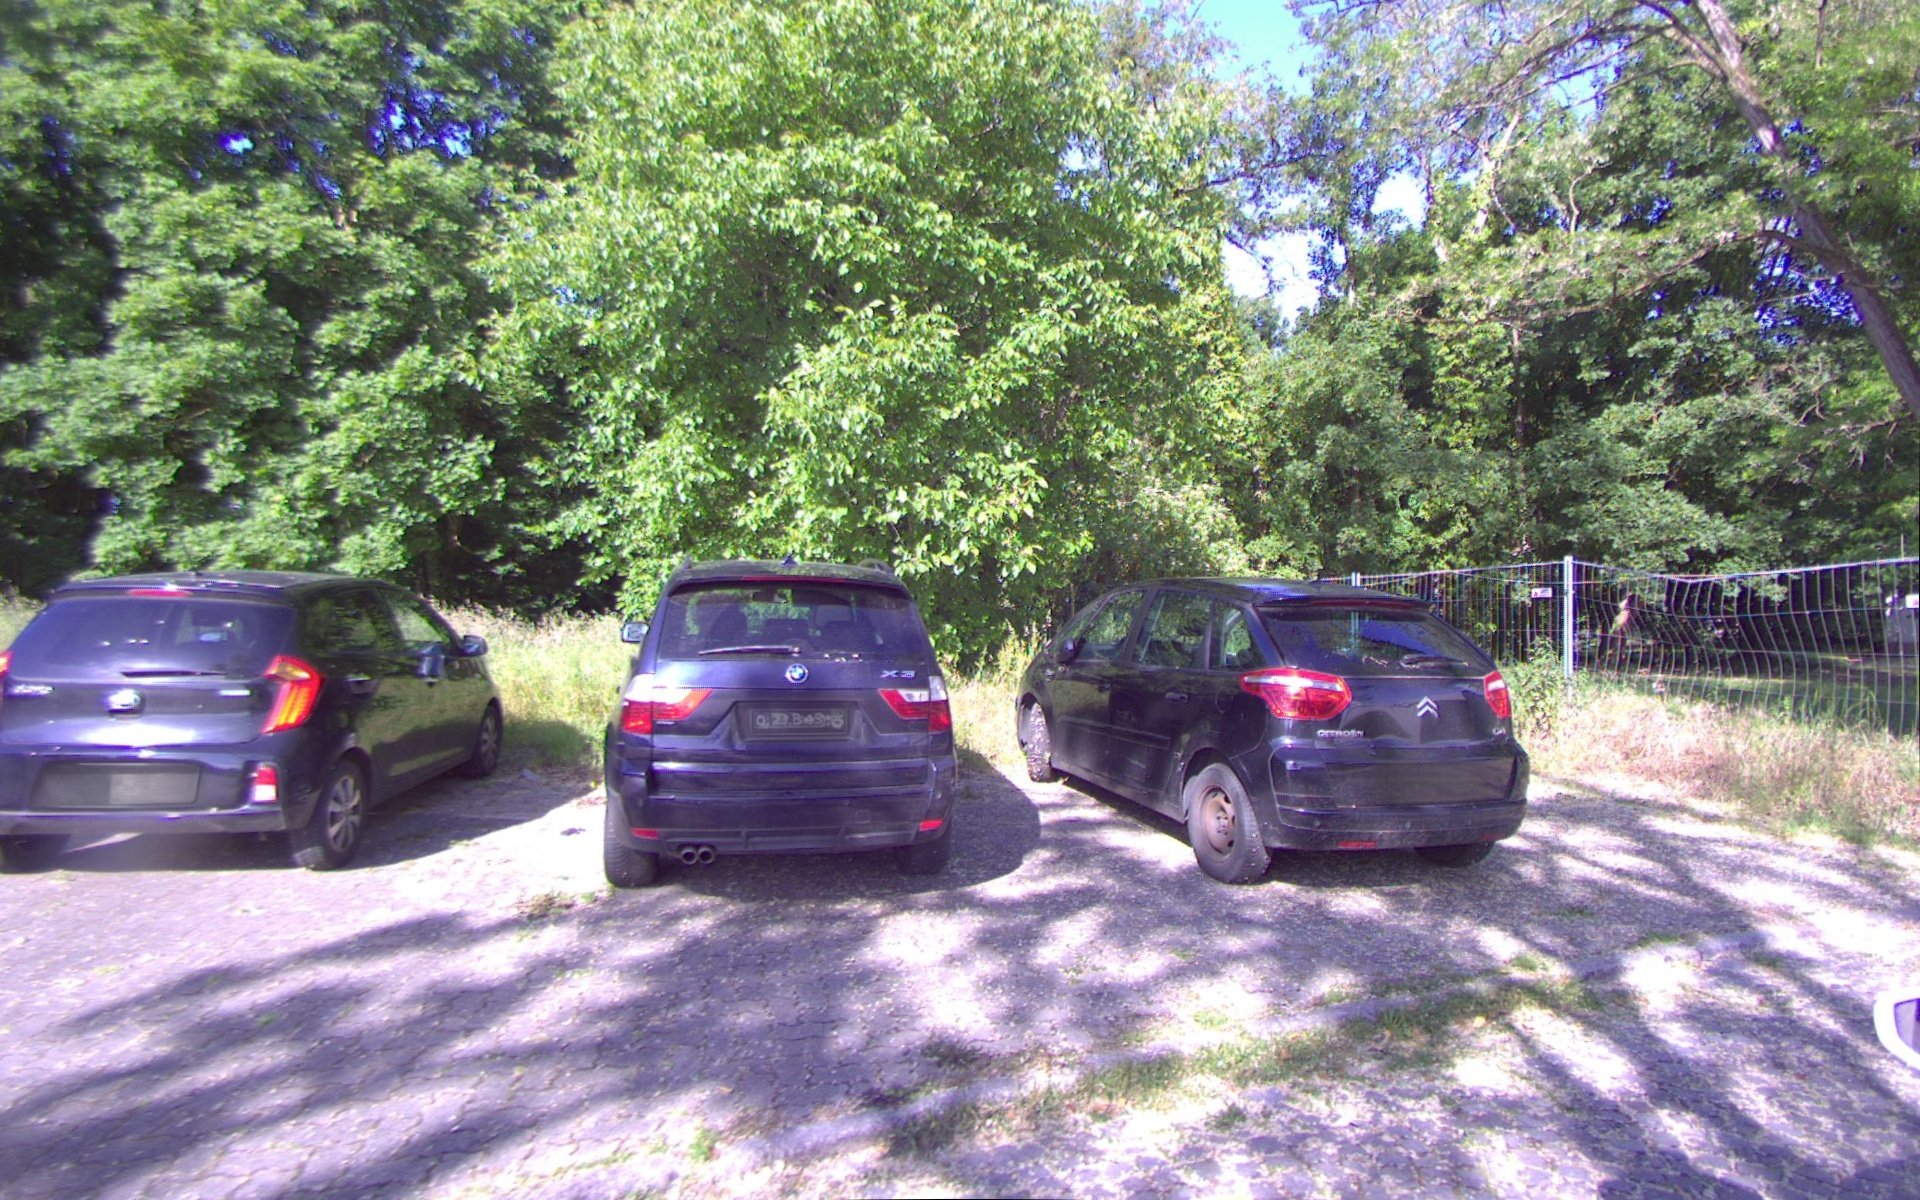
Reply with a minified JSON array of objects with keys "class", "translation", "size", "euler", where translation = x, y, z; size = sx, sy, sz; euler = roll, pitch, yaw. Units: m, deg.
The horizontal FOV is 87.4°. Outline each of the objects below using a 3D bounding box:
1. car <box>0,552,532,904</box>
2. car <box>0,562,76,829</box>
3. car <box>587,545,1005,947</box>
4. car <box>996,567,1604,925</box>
[{"class":"car","translation":[-4.048,0.546,6.200],"size":[1.648,1.536,3.546],"euler":[2,1,-8]},{"class":"car","translation":[-6.037,0.521,4.316],"size":[1.684,1.513,3.656],"euler":[1,0,-10]},{"class":"car","translation":[-1.162,0.585,6.427],"size":[1.787,1.678,4.178],"euler":[1,1,-14]},{"class":"car","translation":[1.847,0.640,7.029],"size":[1.765,1.674,4.282],"euler":[1,2,-19]}]
